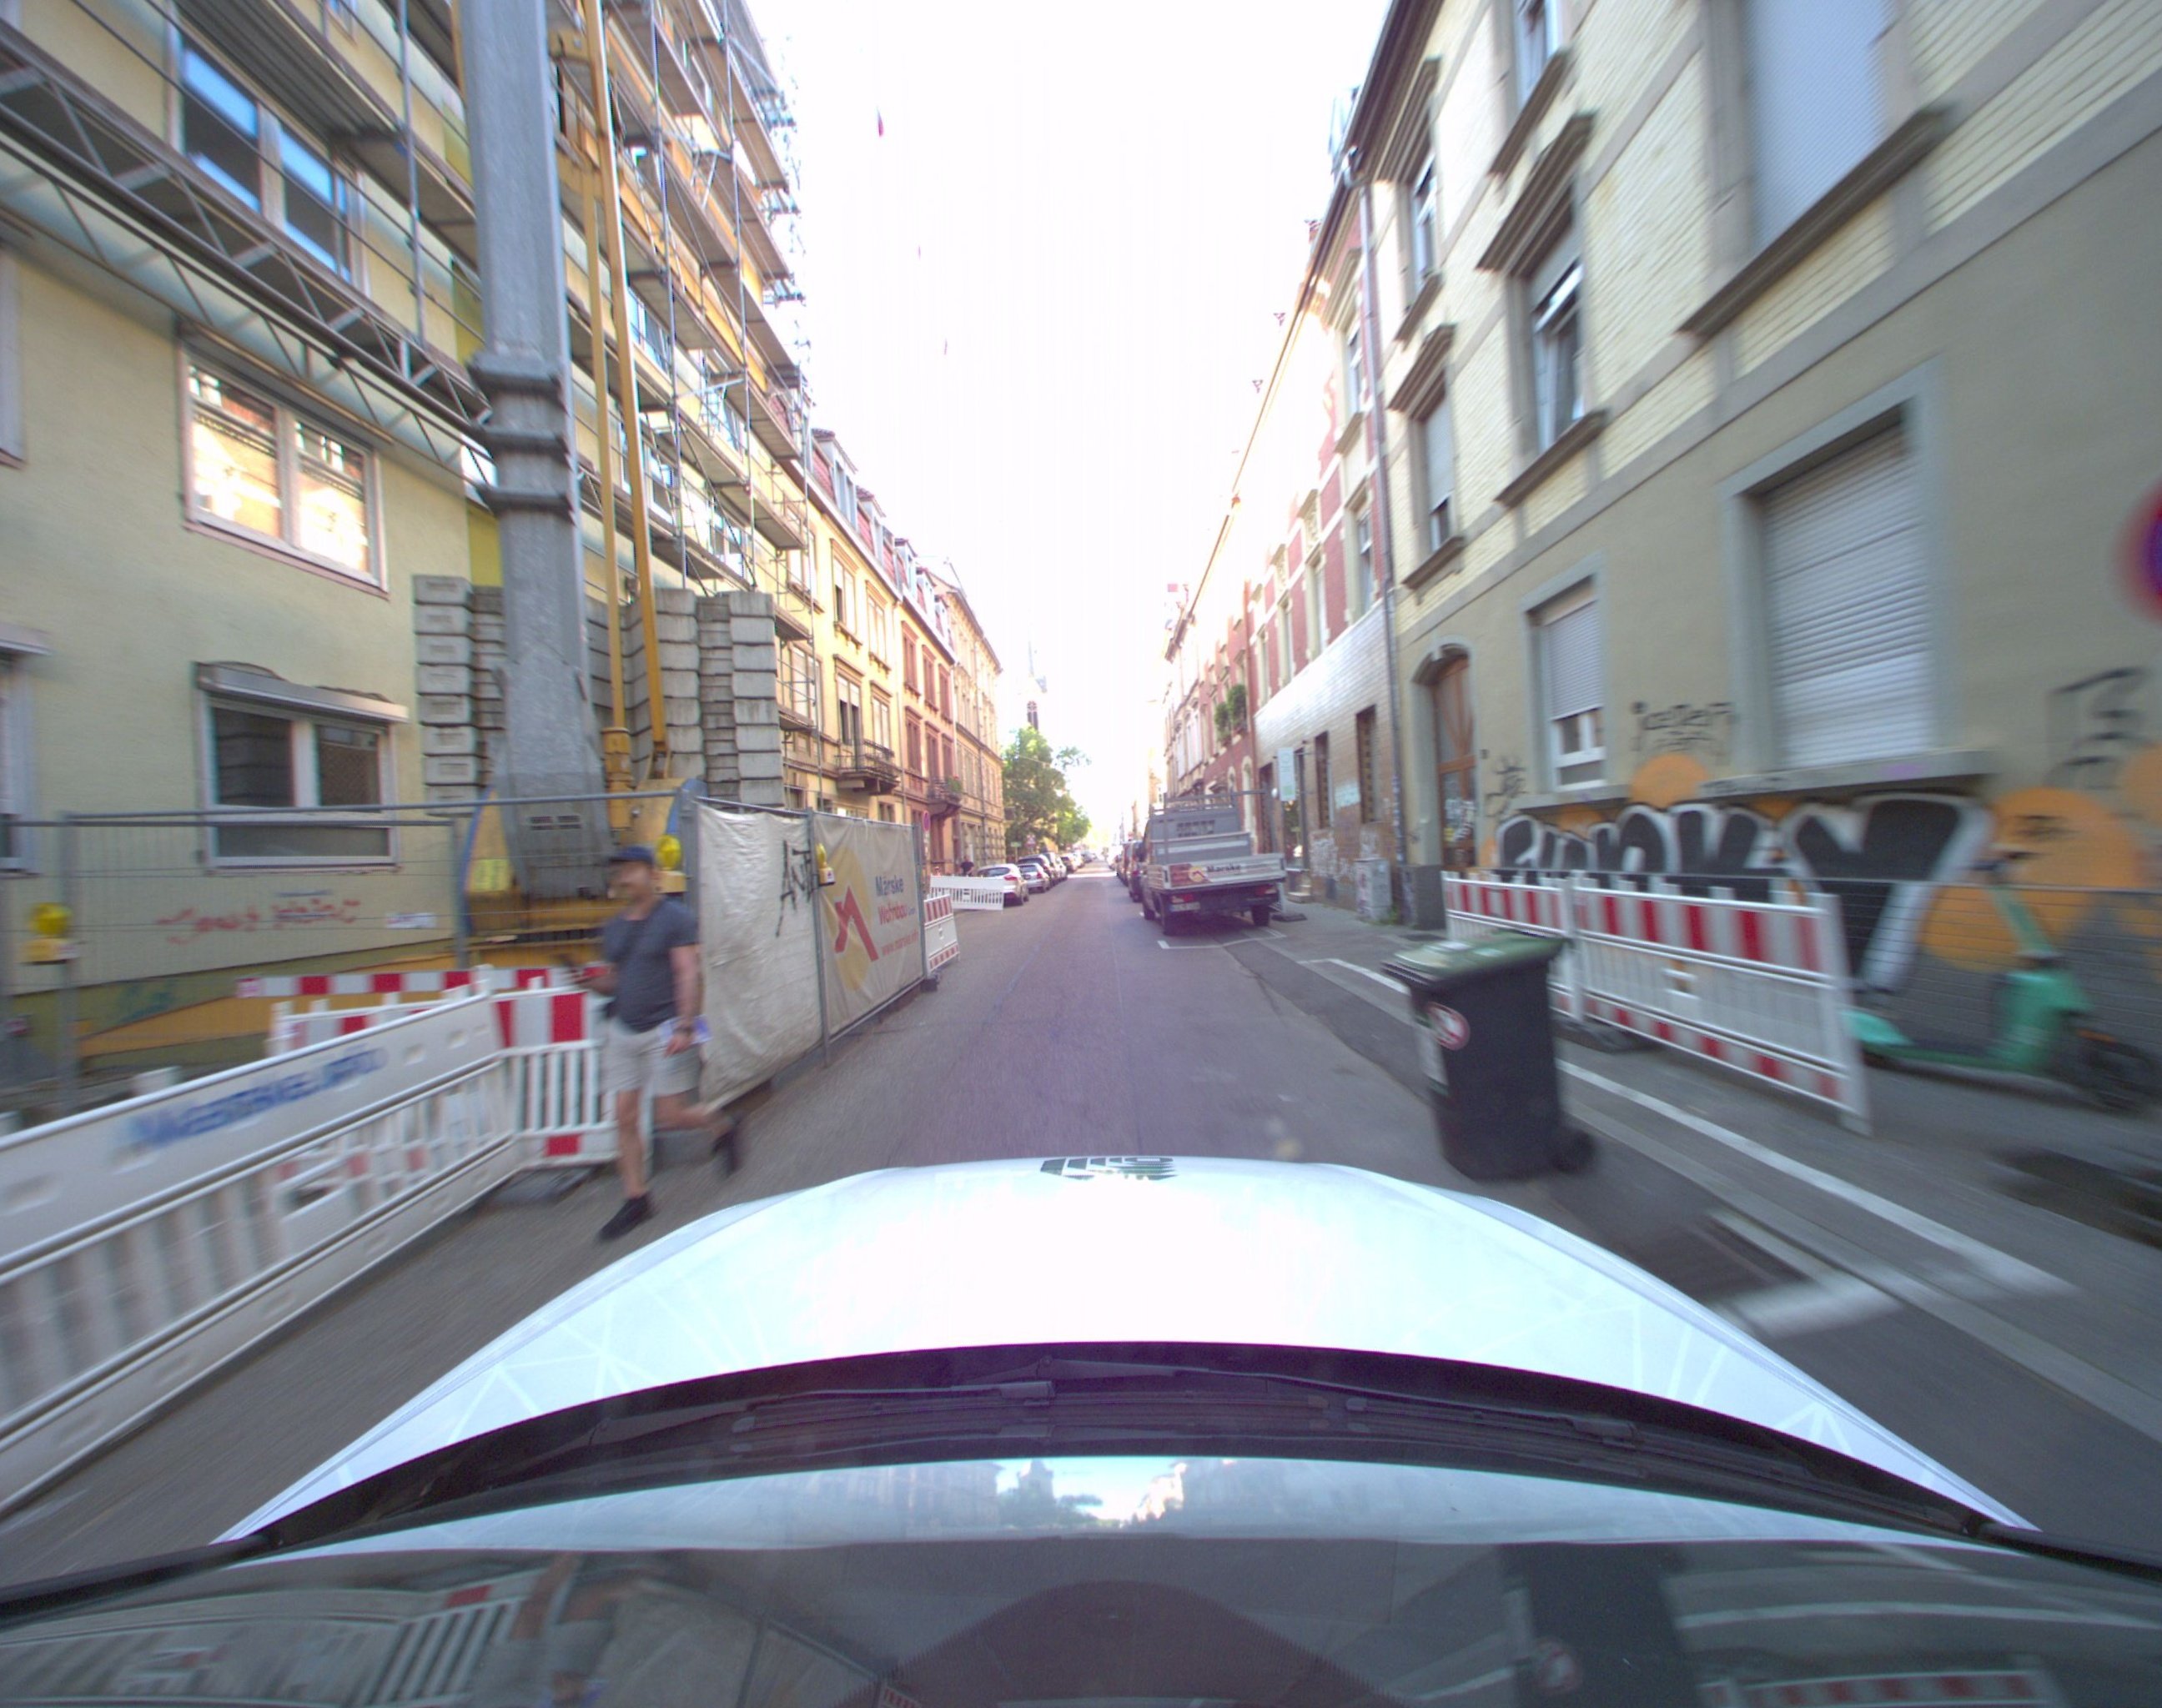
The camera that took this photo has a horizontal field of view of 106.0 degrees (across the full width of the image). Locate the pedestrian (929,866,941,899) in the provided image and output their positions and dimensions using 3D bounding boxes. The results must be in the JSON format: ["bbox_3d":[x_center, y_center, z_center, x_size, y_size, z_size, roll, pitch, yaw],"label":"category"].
[{"bbox_3d":[-5.880,1.134,32.829,0.393,1.306,0.431,-3,0,-4],"label":"pedestrian"}]

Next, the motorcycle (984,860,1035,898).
[{"bbox_3d":[-2.960,1.043,33.528,0.849,1.360,2.170,-6,0,-41],"label":"motorcycle"}]

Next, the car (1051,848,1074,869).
[{"bbox_3d":[-1.828,0.453,81.004,1.838,1.862,4.468,-4,0,3],"label":"car"}]

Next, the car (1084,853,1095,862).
[{"bbox_3d":[1.706,0.716,162.859,1.868,1.796,4.002,-4,0,2],"label":"car"}]

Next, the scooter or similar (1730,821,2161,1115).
[{"bbox_3d":[4.328,0.504,4.230,0.455,1.209,1.439,-7,0,-11],"label":"scooter or similar"}]

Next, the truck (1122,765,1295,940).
[{"bbox_3d":[2.282,-0.024,16.668,2.142,2.657,6.250,-8,0,-1],"label":"truck"}]

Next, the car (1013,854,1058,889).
[{"bbox_3d":[-2.270,0.834,41.823,1.781,1.624,4.610,-2,0,2],"label":"car"}]

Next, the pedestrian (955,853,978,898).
[{"bbox_3d":[-4.647,0.866,33.099,0.683,1.765,0.887,-4,0,-2],"label":"pedestrian"}]

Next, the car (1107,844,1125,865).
[{"bbox_3d":[4.554,0.037,106.551,2.060,2.611,5.890,-3,0,2],"label":"car"}]

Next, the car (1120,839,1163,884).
[{"bbox_3d":[2.904,0.340,39.841,1.825,2.013,4.743,-2,0,2],"label":"car"}]

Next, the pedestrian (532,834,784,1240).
[{"bbox_3d":[-1.914,0.764,3.803,0.590,1.643,0.813,-5,0,1],"label":"pedestrian"}]

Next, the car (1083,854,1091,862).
[{"bbox_3d":[1.375,0.902,184.805,1.869,1.796,4.000,-4,0,0],"label":"car"}]

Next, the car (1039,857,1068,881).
[{"bbox_3d":[-1.769,0.919,52.515,1.668,1.420,3.874,-2,0,0],"label":"car"}]

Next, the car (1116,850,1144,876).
[{"bbox_3d":[3.149,0.564,52.743,1.660,1.479,3.889,-4,0,2],"label":"car"}]

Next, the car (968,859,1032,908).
[{"bbox_3d":[-2.758,0.969,28.544,1.668,1.419,4.000,-5,0,1],"label":"car"}]

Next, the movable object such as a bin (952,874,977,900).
[{"bbox_3d":[-4.569,1.289,31.943,0.760,0.932,1.414,-4,0,-2],"label":"movable object such as a bin"}]

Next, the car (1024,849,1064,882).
[{"bbox_3d":[-2.140,0.650,47.815,1.885,1.784,4.610,-2,0,2],"label":"car"}]

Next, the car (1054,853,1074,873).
[{"bbox_3d":[-1.531,0.813,75.464,1.735,1.646,4.287,-4,0,-1],"label":"car"}]

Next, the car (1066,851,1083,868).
[{"bbox_3d":[-0.791,0.654,102.785,1.858,1.957,4.611,-5,0,1],"label":"car"}]

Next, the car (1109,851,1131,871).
[{"bbox_3d":[3.653,0.603,76.981,1.698,1.714,3.937,-4,0,0],"label":"car"}]

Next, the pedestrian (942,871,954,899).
[{"bbox_3d":[-5.372,1.234,32.836,0.393,1.086,0.431,-3,0,-4],"label":"pedestrian"}]

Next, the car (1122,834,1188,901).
[{"bbox_3d":[2.361,0.403,27.026,1.838,1.983,4.577,-1,0,1],"label":"car"}]

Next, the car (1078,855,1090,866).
[{"bbox_3d":[0.452,0.990,124.072,1.594,1.614,3.809,-6,0,1],"label":"car"}]

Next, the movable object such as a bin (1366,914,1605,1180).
[{"bbox_3d":[1.888,0.872,3.905,0.737,1.057,0.687,-4,0,1],"label":"movable object such as a bin"}]

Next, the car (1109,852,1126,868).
[{"bbox_3d":[4.152,0.666,91.881,1.801,1.690,4.216,-2,-1,2],"label":"car"}]

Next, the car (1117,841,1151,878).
[{"bbox_3d":[3.064,0.311,47.513,1.763,1.961,4.266,-2,0,2],"label":"car"}]

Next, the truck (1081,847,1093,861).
[{"bbox_3d":[1.450,-0.053,201.341,2.522,3.281,6.997,-4,0,2],"label":"truck"}]

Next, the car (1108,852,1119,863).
[{"bbox_3d":[4.913,0.543,122.367,1.597,1.505,4.003,-2,0,3],"label":"car"}]

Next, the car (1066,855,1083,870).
[{"bbox_3d":[-0.746,0.990,96.455,1.736,1.586,3.870,-3,0,2],"label":"car"}]

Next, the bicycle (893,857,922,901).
[{"bbox_3d":[-5.853,0.833,27.522,0.522,1.425,1.713,0,-1,2],"label":"bicycle"}]

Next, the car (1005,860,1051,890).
[{"bbox_3d":[-2.363,0.922,37.267,1.692,1.314,4.001,0,0,2],"label":"car"}]
